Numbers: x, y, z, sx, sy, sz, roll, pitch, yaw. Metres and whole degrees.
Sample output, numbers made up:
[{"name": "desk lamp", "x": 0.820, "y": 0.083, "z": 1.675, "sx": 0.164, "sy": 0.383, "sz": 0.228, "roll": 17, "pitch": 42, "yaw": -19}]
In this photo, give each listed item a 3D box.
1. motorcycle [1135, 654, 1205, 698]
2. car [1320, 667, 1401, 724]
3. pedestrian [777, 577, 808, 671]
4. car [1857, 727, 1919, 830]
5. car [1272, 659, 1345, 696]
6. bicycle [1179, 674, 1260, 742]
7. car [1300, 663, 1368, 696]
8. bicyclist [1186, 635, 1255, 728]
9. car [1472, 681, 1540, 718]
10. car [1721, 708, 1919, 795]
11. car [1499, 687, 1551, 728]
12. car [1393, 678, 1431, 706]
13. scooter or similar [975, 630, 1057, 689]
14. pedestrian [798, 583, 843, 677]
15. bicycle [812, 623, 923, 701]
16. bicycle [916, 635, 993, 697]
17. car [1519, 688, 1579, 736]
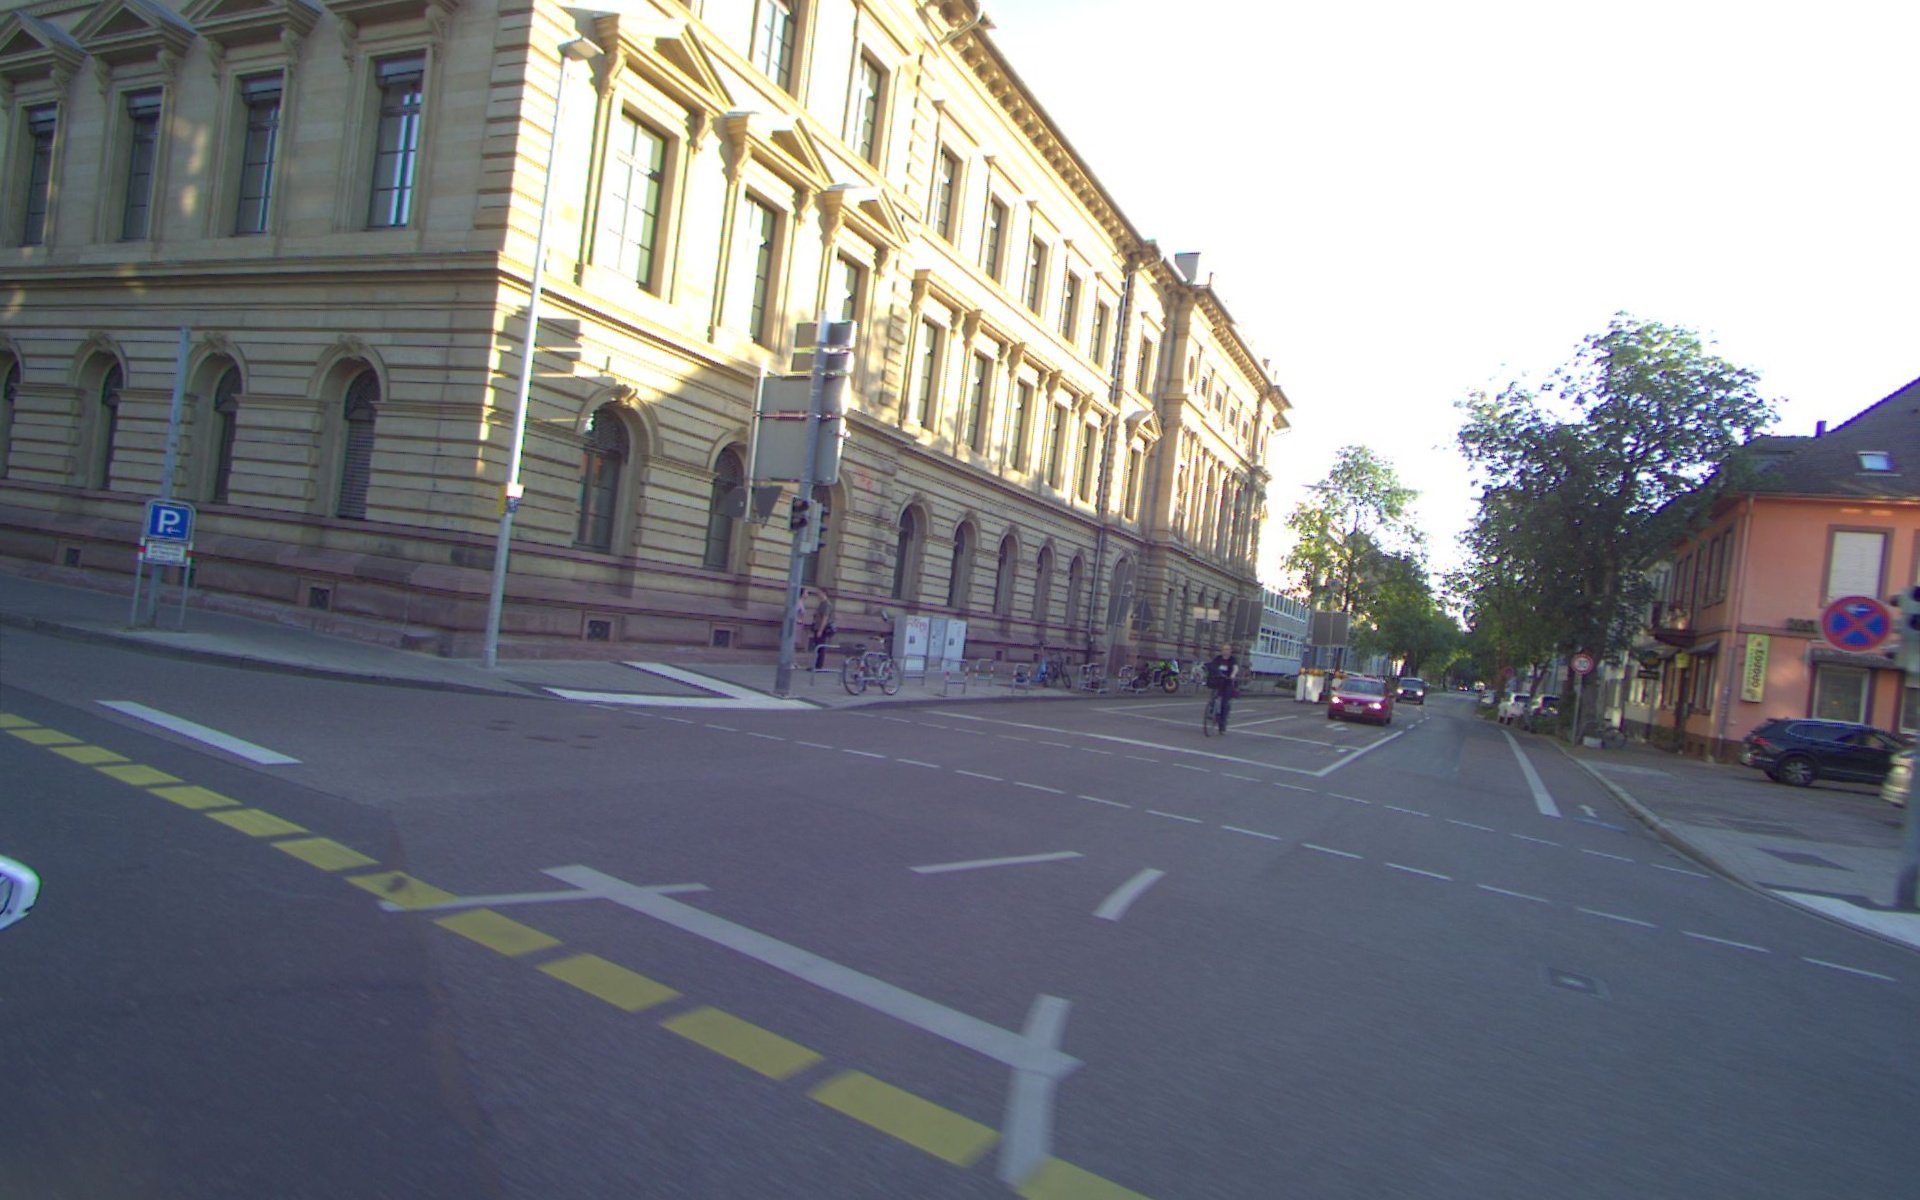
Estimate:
[{"name": "motorcycle", "x": 7.393, "y": 2.678, "z": 35.556, "sx": 0.877, "sy": 1.218, "sz": 2.289, "roll": 7, "pitch": 0, "yaw": -37}, {"name": "car", "x": 13.057, "y": 3.050, "z": 32.675, "sx": 1.977, "sy": 1.529, "sz": 4.013, "roll": 4, "pitch": -1, "yaw": 28}, {"name": "pedestrian", "x": -3.478, "y": 0.494, "z": 20.872, "sx": 0.420, "sy": 1.880, "sz": 0.449, "roll": 7, "pitch": 0, "yaw": -9}, {"name": "car", "x": 17.451, "y": 3.102, "z": 16.226, "sx": 3.987, "sy": 1.565, "sz": 2.010, "roll": 4, "pitch": -2, "yaw": 29}, {"name": "car", "x": 20.627, "y": 4.585, "z": 59.530, "sx": 3.659, "sy": 1.726, "sz": 1.882, "roll": 6, "pitch": -1, "yaw": 30}, {"name": "bicycle", "x": 5.111, "y": 2.070, "z": 19.655, "sx": 0.960, "sy": 1.118, "sz": 2.583, "roll": 7, "pitch": -1, "yaw": 26}, {"name": "car", "x": 26.103, "y": 5.529, "z": 70.200, "sx": 4.092, "sy": 1.704, "sz": 1.998, "roll": 6, "pitch": -1, "yaw": 29}, {"name": "bicyclist", "x": 5.101, "y": 1.592, "z": 19.687, "sx": 0.952, "sy": 1.652, "sz": 1.045, "roll": 7, "pitch": 0, "yaw": 26}, {"name": "car", "x": 39.142, "y": 7.121, "z": 72.140, "sx": 3.937, "sy": 2.038, "sz": 1.995, "roll": 6, "pitch": -1, "yaw": 35}, {"name": "car", "x": 21.951, "y": 3.774, "z": 25.032, "sx": 4.444, "sy": 1.615, "sz": 2.010, "roll": 4, "pitch": -2, "yaw": 29}, {"name": "car", "x": 29.935, "y": 5.658, "z": 53.422, "sx": 1.965, "sy": 1.815, "sz": 3.907, "roll": 6, "pitch": -1, "yaw": 26}, {"name": "car", "x": 30.217, "y": 6.141, "z": 67.177, "sx": 1.977, "sy": 1.640, "sz": 4.014, "roll": 4, "pitch": -2, "yaw": 28}, {"name": "scooter or similar", "x": 1.506, "y": 1.606, "z": 27.240, "sx": 1.879, "sy": 1.343, "sz": 0.922, "roll": 6, "pitch": -1, "yaw": 33}, {"name": "pedestrian", "x": -2.928, "y": 0.624, "z": 21.078, "sx": 0.530, "sy": 1.880, "sz": 0.617, "roll": 7, "pitch": 0, "yaw": -33}, {"name": "bicycle", "x": -1.655, "y": 1.129, "z": 18.448, "sx": 0.847, "sy": 1.223, "sz": 2.052, "roll": 11, "pitch": 3, "yaw": 30}, {"name": "bicycle", "x": -0.096, "y": 1.397, "z": 21.078, "sx": 0.684, "sy": 1.158, "sz": 1.726, "roll": 9, "pitch": 1, "yaw": 30}, {"name": "car", "x": 26.503, "y": 5.005, "z": 45.388, "sx": 1.965, "sy": 1.815, "sz": 3.906, "roll": 6, "pitch": -1, "yaw": 28}]
